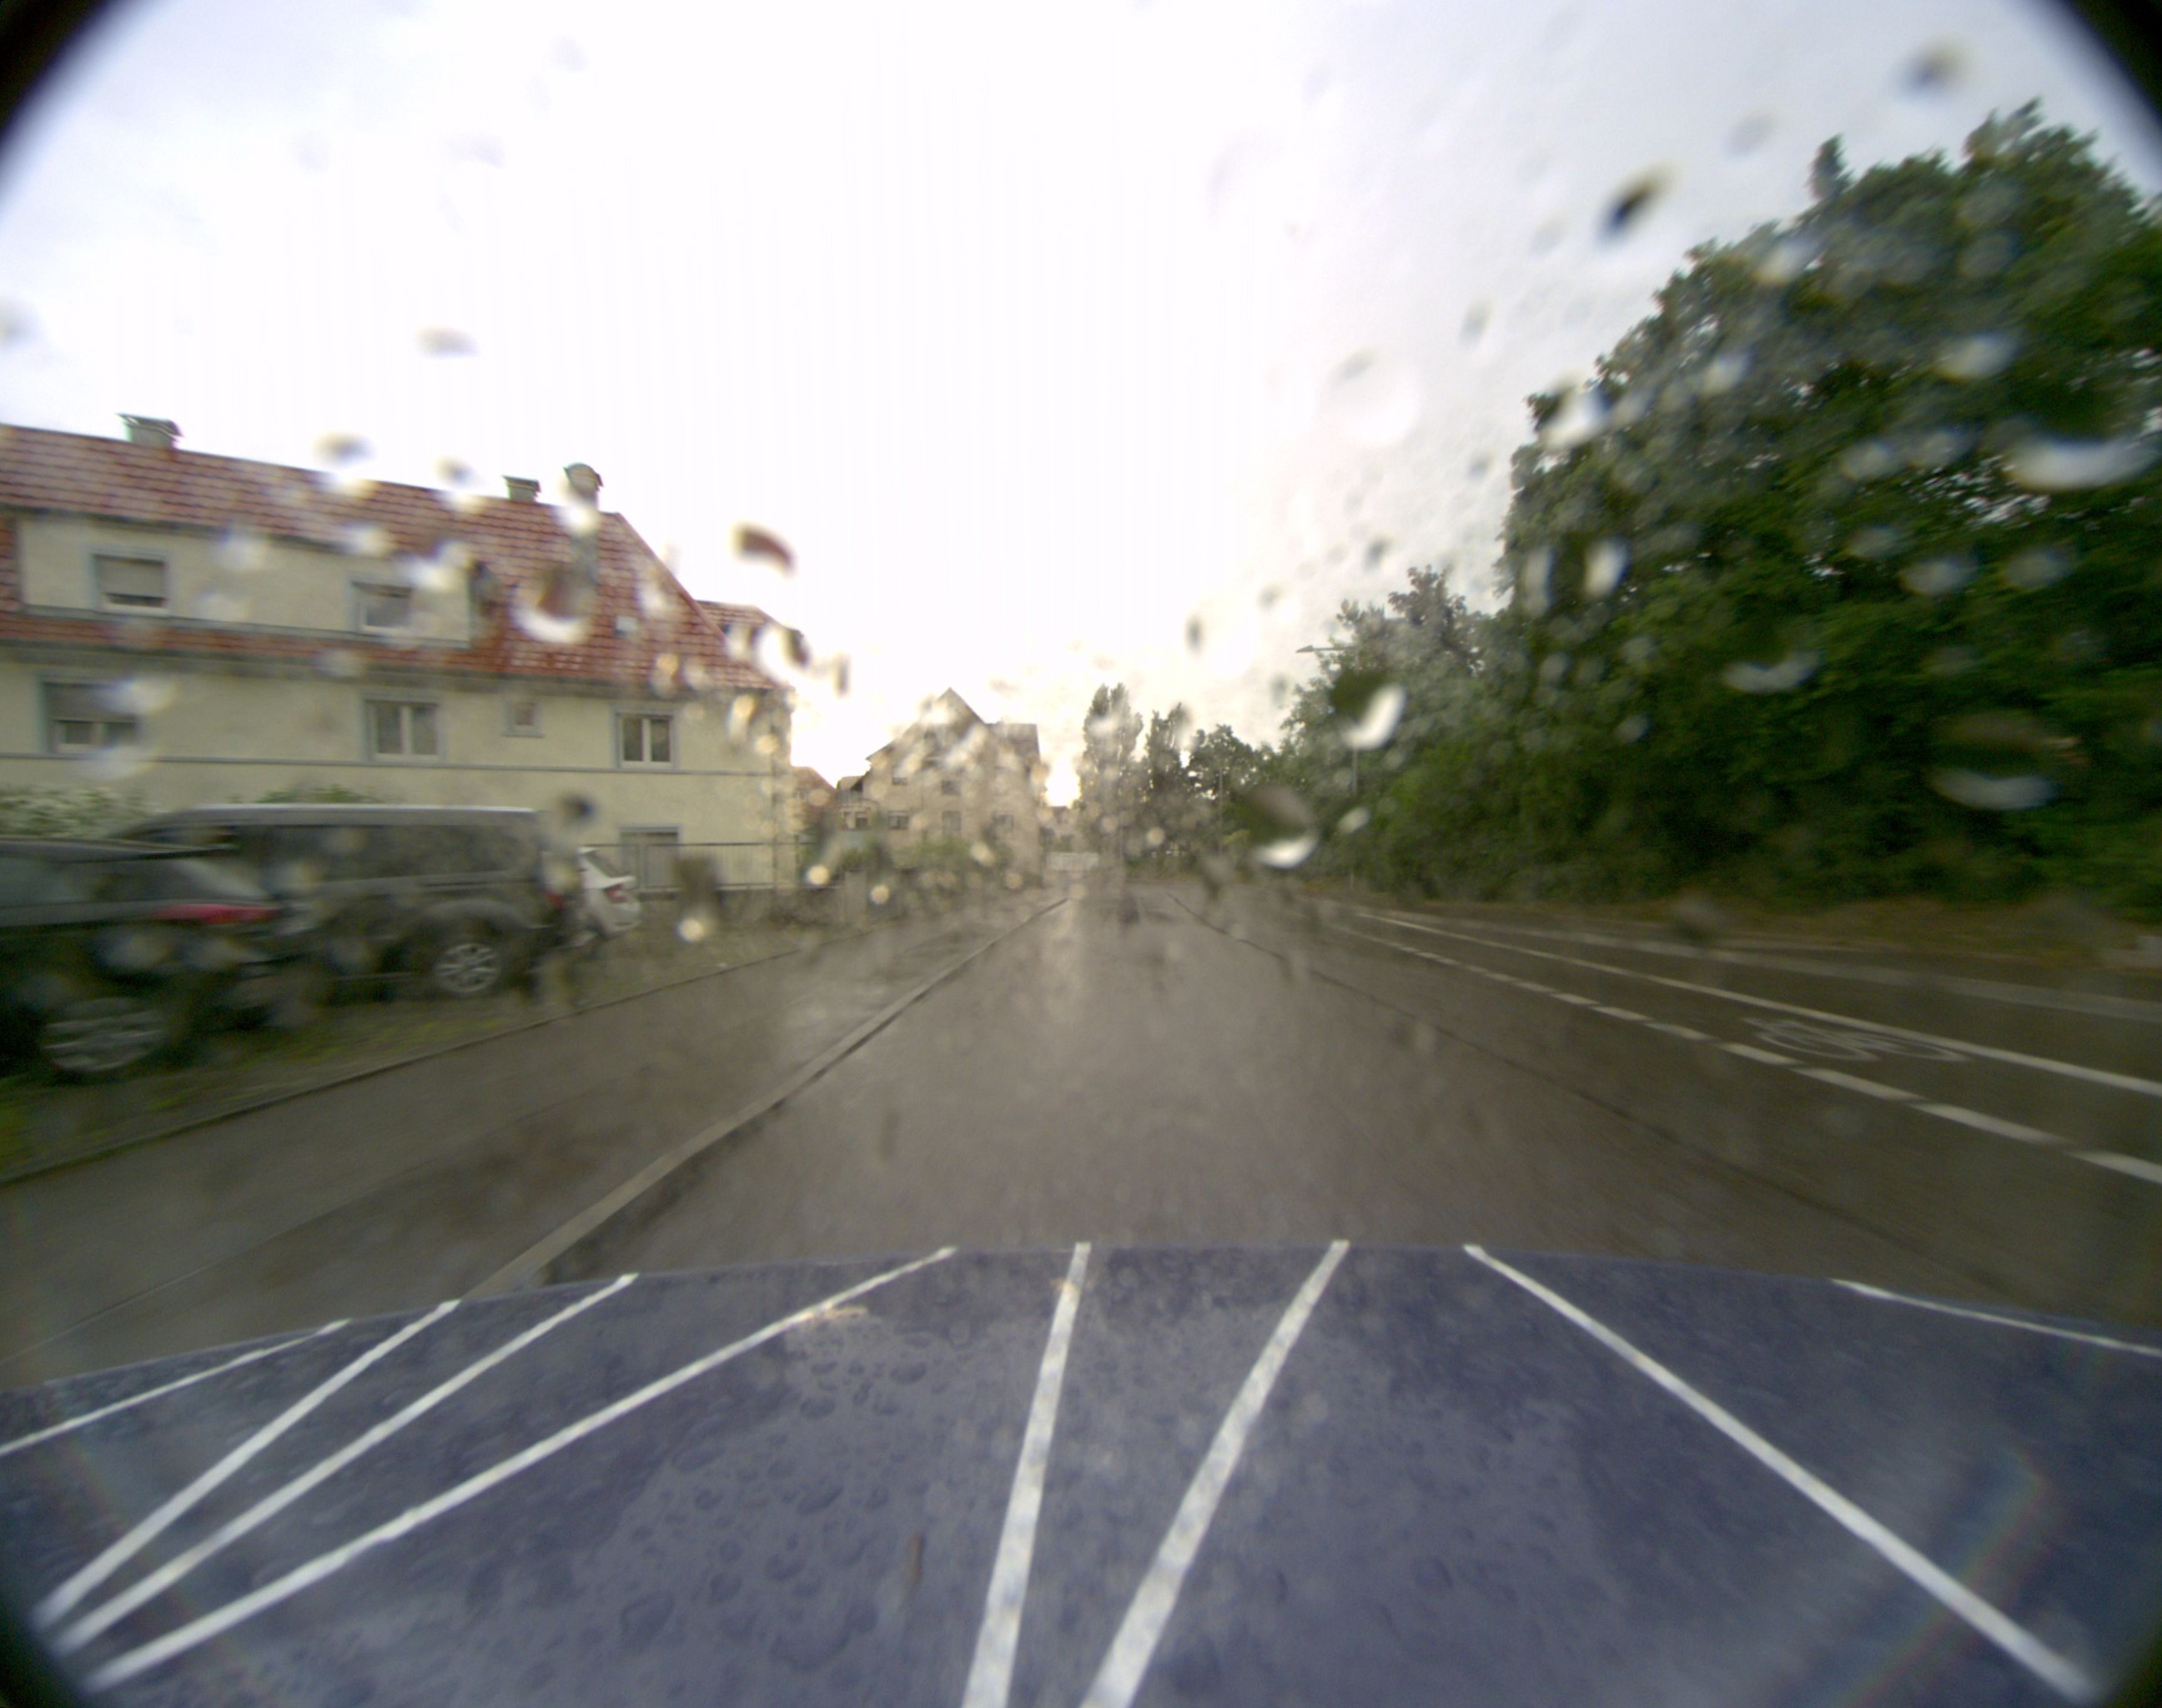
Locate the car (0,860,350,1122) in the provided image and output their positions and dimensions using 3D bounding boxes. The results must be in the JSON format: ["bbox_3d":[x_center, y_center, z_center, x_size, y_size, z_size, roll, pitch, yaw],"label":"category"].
[{"bbox_3d":[-6.977,0.736,4.457,3.532,1.331,1.683,2,1,-29],"label":"car"}]

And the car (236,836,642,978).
[{"bbox_3d":[-7.616,0.606,9.493,3.531,1.466,1.684,2,1,-26],"label":"car"}]

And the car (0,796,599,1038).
[{"bbox_3d":[-6.922,0.493,7.063,3.942,1.771,1.766,2,1,-28],"label":"car"}]
